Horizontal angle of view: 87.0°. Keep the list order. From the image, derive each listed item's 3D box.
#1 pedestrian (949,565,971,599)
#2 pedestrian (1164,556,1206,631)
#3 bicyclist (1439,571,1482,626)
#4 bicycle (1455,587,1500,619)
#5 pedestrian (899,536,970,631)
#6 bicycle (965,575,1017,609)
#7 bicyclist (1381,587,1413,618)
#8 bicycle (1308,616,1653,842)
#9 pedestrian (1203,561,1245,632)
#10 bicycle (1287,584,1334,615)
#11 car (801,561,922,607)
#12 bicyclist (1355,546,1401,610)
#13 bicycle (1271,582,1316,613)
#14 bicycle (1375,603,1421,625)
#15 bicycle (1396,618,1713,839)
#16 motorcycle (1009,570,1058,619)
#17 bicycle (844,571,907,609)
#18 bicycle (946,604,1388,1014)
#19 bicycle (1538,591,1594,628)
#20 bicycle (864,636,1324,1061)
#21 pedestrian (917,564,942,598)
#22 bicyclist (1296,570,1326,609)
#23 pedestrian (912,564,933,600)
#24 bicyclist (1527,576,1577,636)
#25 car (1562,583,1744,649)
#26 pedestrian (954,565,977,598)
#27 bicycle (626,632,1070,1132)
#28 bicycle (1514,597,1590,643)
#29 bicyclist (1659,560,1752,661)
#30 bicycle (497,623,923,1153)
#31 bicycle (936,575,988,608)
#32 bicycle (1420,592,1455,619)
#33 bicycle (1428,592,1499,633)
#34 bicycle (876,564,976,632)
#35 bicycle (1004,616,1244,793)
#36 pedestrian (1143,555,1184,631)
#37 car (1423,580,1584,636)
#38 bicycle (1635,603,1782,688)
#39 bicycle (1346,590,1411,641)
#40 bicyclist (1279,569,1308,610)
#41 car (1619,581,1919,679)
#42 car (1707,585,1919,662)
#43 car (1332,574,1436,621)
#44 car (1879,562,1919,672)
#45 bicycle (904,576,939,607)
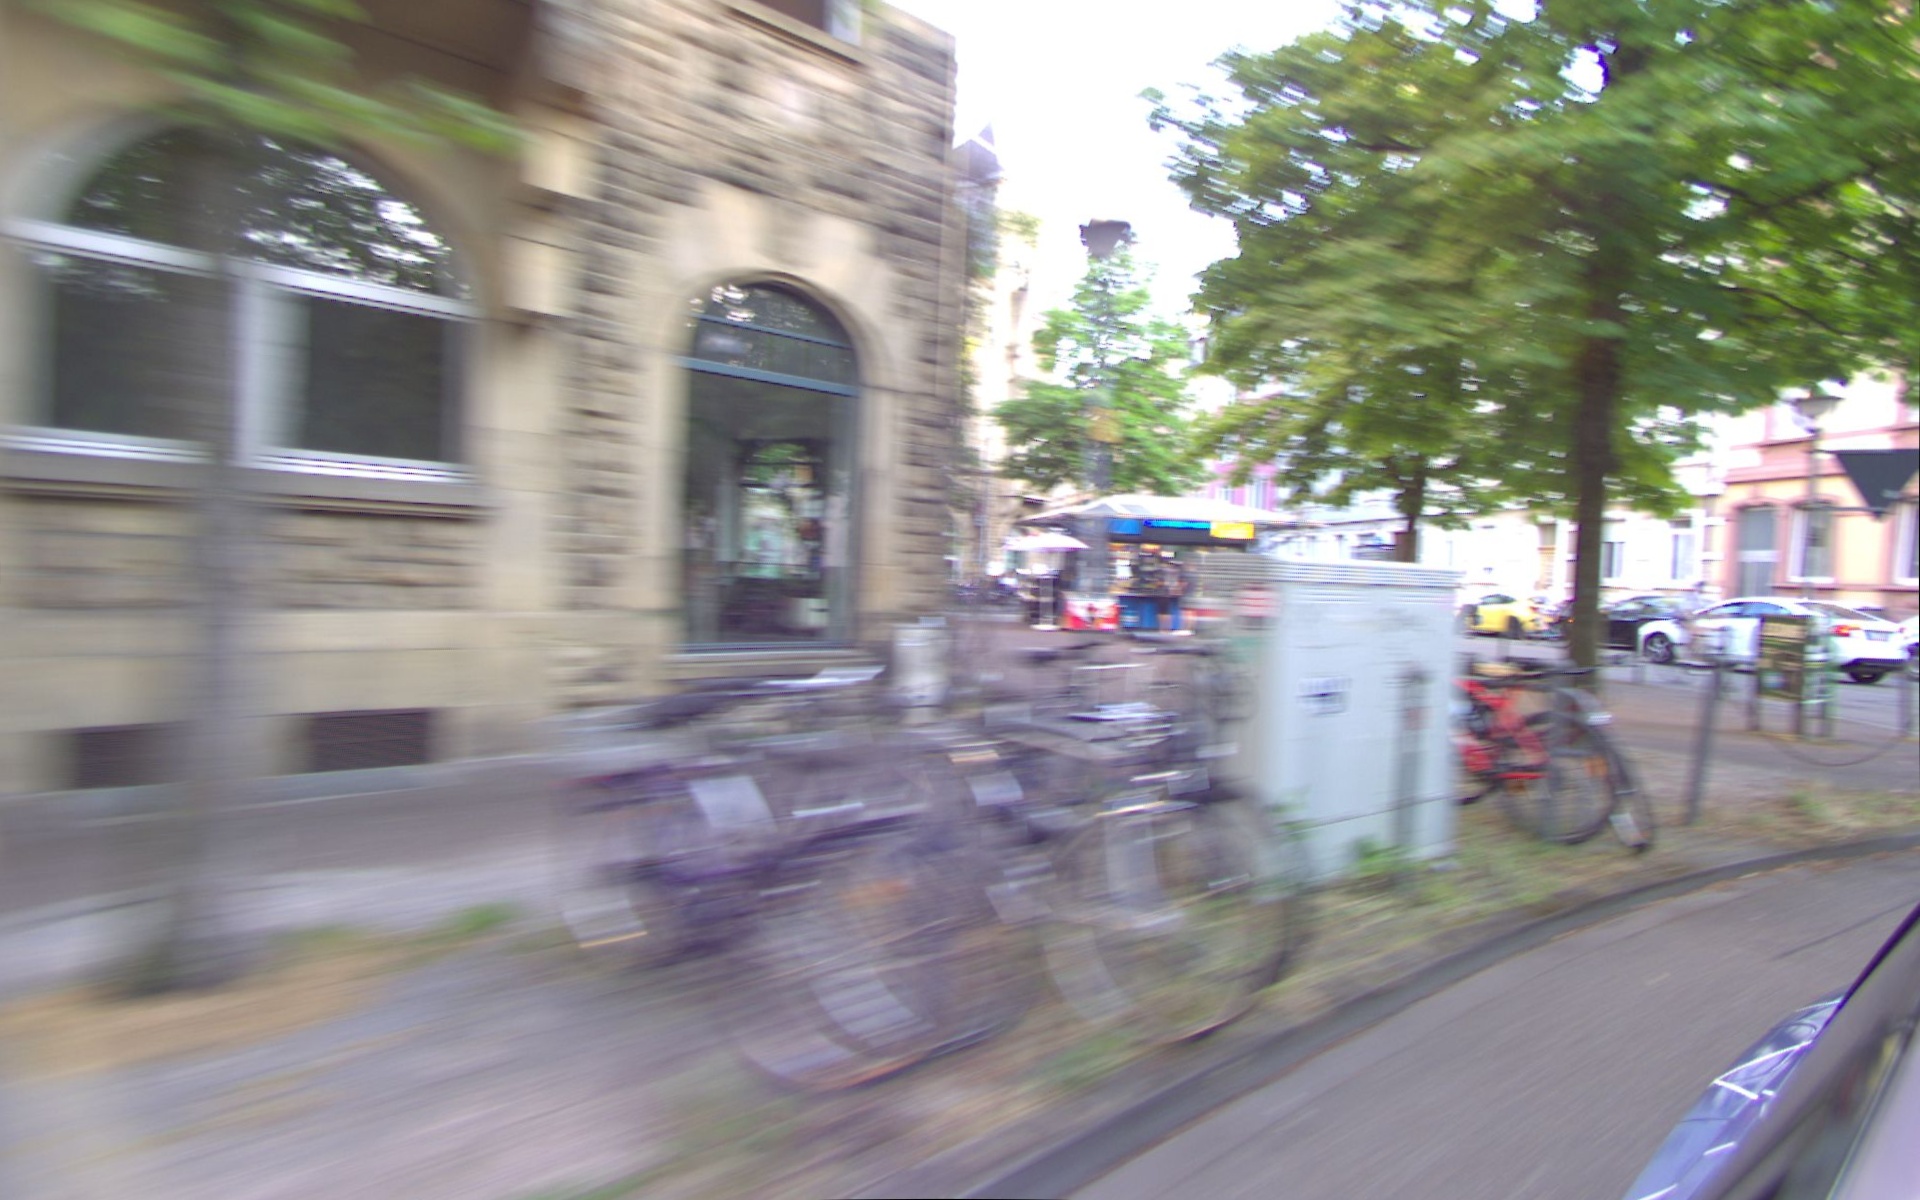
[{"bbox_3d":[0.008,-0.737,40.214,0.699,1.314,0.766,2,1,-11],"label":"pedestrian"},{"bbox_3d":[5.081,-0.162,22.892,0.666,1.657,0.590,1,2,-39],"label":"pedestrian"},{"bbox_3d":[15.109,-0.061,30.558,0.711,1.603,0.877,2,1,-15],"label":"bicyclist"},{"bbox_3d":[19.363,0.099,37.896,0.471,1.154,1.867,2,1,-8],"label":"bicycle"},{"bbox_3d":[-0.512,-0.337,20.347,0.997,1.810,0.970,4,2,30],"label":"pedestrian"},{"bbox_3d":[1.126,-0.299,36.839,1.796,1.165,0.559,1,1,-23],"label":"bicycle"},{"bbox_3d":[14.826,0.074,34.364,0.634,0.989,0.732,2,2,-14],"label":"bicyclist"},{"bbox_3d":[3.036,0.682,6.150,0.423,1.052,1.902,1,2,-30],"label":"bicycle"},{"bbox_3d":[5.975,-0.088,22.936,0.666,1.558,0.590,1,2,-39],"label":"pedestrian"},{"bbox_3d":[14.028,-0.031,40.563,0.708,1.121,2.019,2,2,-15],"label":"bicycle"},{"bbox_3d":[-3.384,-0.567,34.512,3.955,1.401,1.888,2,2,-7],"label":"car"},{"bbox_3d":[10.323,-0.541,25.026,0.673,1.531,0.973,2,1,-1],"label":"bicyclist"},{"bbox_3d":[13.047,-0.098,39.664,0.638,1.121,2.019,2,2,-14],"label":"bicycle"},{"bbox_3d":[14.826,0.483,34.305,0.638,0.650,1.467,2,2,-14],"label":"bicycle"},{"bbox_3d":[3.487,0.690,6.099,0.423,1.052,1.610,1,2,-30],"label":"bicycle"},{"bbox_3d":[1.877,-0.160,26.221,0.852,1.181,1.885,2,1,-8],"label":"motorcycle"},{"bbox_3d":[-2.375,-0.285,28.504,1.704,1.008,0.580,2,2,-8],"label":"bicycle"},{"bbox_3d":[0.693,0.639,3.851,0.545,1.162,1.605,1,2,-42],"label":"bicycle"},{"bbox_3d":[20.238,0.307,33.833,0.471,1.154,1.867,2,1,-8],"label":"bicycle"},{"bbox_3d":[0.373,0.711,3.555,0.545,1.033,1.605,1,2,-42],"label":"bicycle"},{"bbox_3d":[-1.205,-0.742,40.250,0.706,1.314,0.759,2,1,20],"label":"pedestrian"},{"bbox_3d":[14.044,-0.433,40.543,0.700,1.545,0.869,2,1,-15],"label":"bicyclist"},{"bbox_3d":[-1.456,-0.695,38.869,0.700,1.379,0.821,2,1,-6],"label":"pedestrian"},{"bbox_3d":[15.869,0.154,27.138,0.664,1.564,0.877,2,1,-12],"label":"bicyclist"},{"bbox_3d":[18.004,0.354,26.520,1.698,1.510,3.751,0,2,-13],"label":"car"},{"bbox_3d":[0.216,-0.770,41.242,0.699,1.314,0.766,1,1,-16],"label":"pedestrian"},{"bbox_3d":[-0.439,0.702,3.132,1.603,1.076,0.412,4,2,44],"label":"bicycle"},{"bbox_3d":[15.851,0.515,27.153,0.671,1.108,1.813,2,2,-12],"label":"bicycle"},{"bbox_3d":[11.717,0.146,15.943,0.673,1.531,0.973,2,1,0],"label":"bicyclist"},{"bbox_3d":[-0.827,0.668,2.991,1.603,1.089,0.412,4,2,44],"label":"bicycle"},{"bbox_3d":[0.085,-0.314,37.043,1.796,1.175,0.540,1,1,-23],"label":"bicycle"},{"bbox_3d":[19.228,0.220,40.761,0.393,0.989,1.468,5,1,-12],"label":"bicycle"},{"bbox_3d":[15.122,0.353,30.461,0.714,1.108,2.053,2,2,-15],"label":"bicycle"},{"bbox_3d":[-0.681,-0.060,19.941,1.898,1.202,0.629,4,2,30],"label":"bicycle"},{"bbox_3d":[1.087,0.610,6.457,1.695,0.981,0.432,1,2,-37],"label":"bicycle"},{"bbox_3d":[4.554,-0.168,22.646,0.664,1.657,0.592,2,1,-10],"label":"pedestrian"},{"bbox_3d":[16.974,0.191,31.935,1.806,1.544,4.812,-1,2,-12],"label":"car"},{"bbox_3d":[11.697,0.674,15.920,0.673,1.165,2.116,2,1,0],"label":"bicycle"},{"bbox_3d":[10.296,0.358,24.986,0.673,1.165,2.116,2,1,-1],"label":"bicycle"},{"bbox_3d":[13.055,-0.409,39.646,0.640,1.545,0.869,2,1,-15],"label":"bicyclist"},{"bbox_3d":[15.543,0.473,19.510,1.959,1.535,4.850,2,2,-9],"label":"car"},{"bbox_3d":[19.161,0.466,22.771,1.654,1.510,3.621,0,2,-10],"label":"car"},{"bbox_3d":[15.947,-0.145,38.310,1.769,1.612,4.152,0,2,-8],"label":"car"},{"bbox_3d":[19.471,0.383,17.561,2.005,2.082,5.014,0,2,-9],"label":"car"},{"bbox_3d":[-1.387,-0.307,36.775,0.584,1.091,1.822,2,2,21],"label":"bicycle"}]
